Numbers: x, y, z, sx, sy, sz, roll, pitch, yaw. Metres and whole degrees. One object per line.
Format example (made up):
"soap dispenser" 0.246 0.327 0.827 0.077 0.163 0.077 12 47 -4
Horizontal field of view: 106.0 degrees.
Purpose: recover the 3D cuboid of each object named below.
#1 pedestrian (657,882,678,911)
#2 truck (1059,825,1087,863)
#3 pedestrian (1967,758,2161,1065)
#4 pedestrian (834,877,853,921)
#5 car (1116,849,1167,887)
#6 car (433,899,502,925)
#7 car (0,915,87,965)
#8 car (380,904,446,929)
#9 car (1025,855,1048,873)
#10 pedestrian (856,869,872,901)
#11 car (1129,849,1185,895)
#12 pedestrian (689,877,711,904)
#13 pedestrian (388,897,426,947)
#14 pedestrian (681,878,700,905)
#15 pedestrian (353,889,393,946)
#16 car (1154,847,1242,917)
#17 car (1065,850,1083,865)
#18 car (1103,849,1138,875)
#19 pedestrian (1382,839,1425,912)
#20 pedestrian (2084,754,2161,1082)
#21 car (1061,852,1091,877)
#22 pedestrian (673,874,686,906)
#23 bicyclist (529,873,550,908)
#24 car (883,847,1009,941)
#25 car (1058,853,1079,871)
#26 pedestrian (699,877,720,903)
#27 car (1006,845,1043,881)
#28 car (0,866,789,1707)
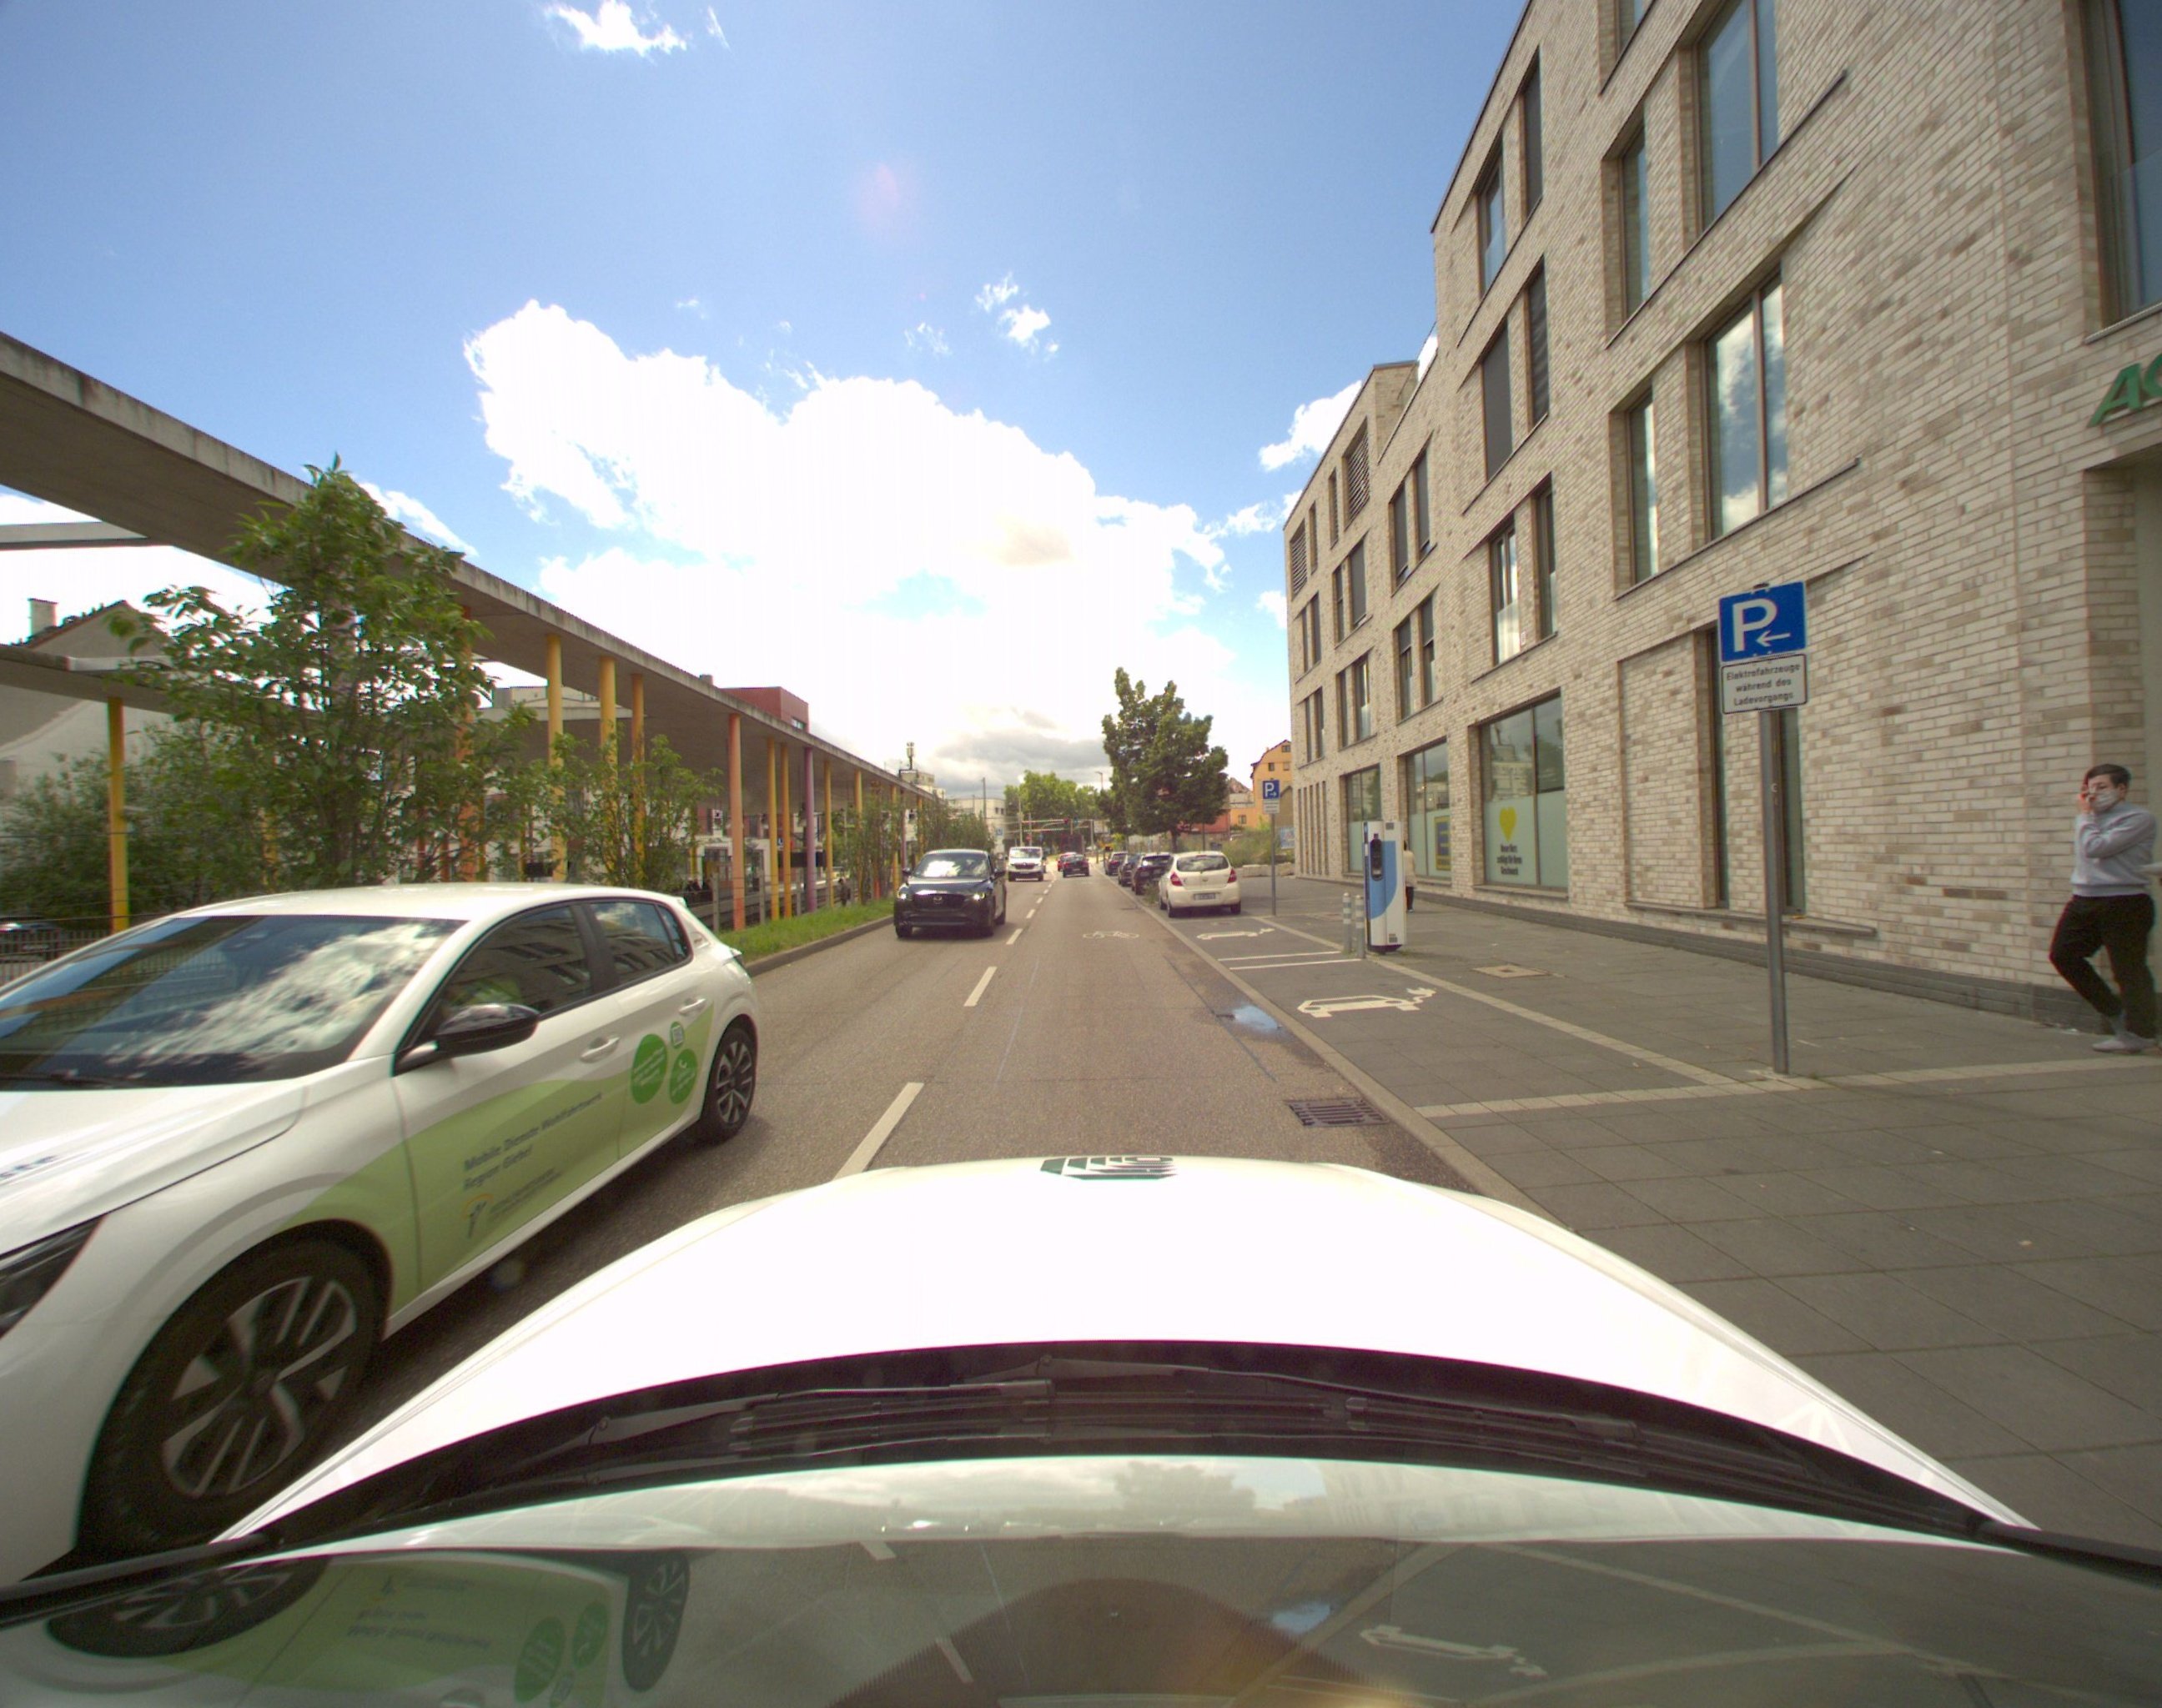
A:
"pedestrian" -20.769 2.123 40.915 0.649 1.379 0.702 -1 1 0
"truck" -0.947 -1.172 103.277 3.192 4.536 9.029 -1 -1 1
"pedestrian" 6.270 0.326 5.074 0.734 1.766 0.622 -2 -2 -7
"pedestrian" -9.966 1.879 34.147 0.584 1.830 0.710 -1 -2 1
"car" 2.609 0.577 36.300 1.859 1.451 4.642 -3 0 0
"car" -37.003 3.504 49.093 3.673 1.325 1.656 -5 -3 22
"car" -32.105 2.532 24.261 3.958 1.337 1.576 -1 -2 14
"car" -41.782 3.898 50.948 3.673 1.325 1.656 -5 -3 22
"car" -3.737 0.818 68.444 1.722 1.521 4.245 0 0 -6
"pedestrian" -11.163 1.573 41.949 0.627 1.614 0.636 -1 1 0
"car" 2.703 0.596 29.800 1.686 1.461 4.148 -3 0 1
"pedestrian" -20.549 1.962 43.882 0.820 1.379 0.702 -1 1 0
"pedestrian" -22.851 2.292 27.628 0.640 1.662 0.730 -1 -2 -1
"pedestrian" -20.610 1.962 42.974 0.649 1.379 0.702 -1 1 0
"pedestrian" -23.910 2.133 27.515 0.640 1.883 0.799 -1 -2 -1
"car" 2.822 0.637 20.351 1.686 1.483 3.799 -3 0 2
"car" -0.748 0.412 89.070 1.881 1.465 4.069 -3 -1 1
"car" 2.437 0.463 50.970 1.777 1.451 4.472 -4 0 -2
"pedestrian" 6.765 0.438 17.116 0.604 1.472 0.792 -3 0 8
"pedestrian" 6.204 0.329 4.350 0.734 1.766 0.754 -2 -2 -14
"car" -0.354 0.650 53.316 1.723 1.456 3.804 -3 1 -3
"pedestrian" -22.961 2.058 46.535 0.481 1.820 0.491 -1 1 -3
"bicyclist" -25.144 1.705 37.792 0.482 1.593 0.681 -1 -2 2
"car" -2.543 0.695 16.477 1.914 1.605 4.623 -1 0 -2
"car" -1.116 0.691 70.887 1.708 1.393 3.804 -3 1 -3
"pedestrian" -20.468 1.984 44.902 0.820 1.379 0.702 -1 1 0
"car" -3.148 0.469 45.995 1.999 1.917 5.058 -1 0 -3
"car" -2.754 0.816 3.118 1.805 1.469 3.908 -1 0 1
